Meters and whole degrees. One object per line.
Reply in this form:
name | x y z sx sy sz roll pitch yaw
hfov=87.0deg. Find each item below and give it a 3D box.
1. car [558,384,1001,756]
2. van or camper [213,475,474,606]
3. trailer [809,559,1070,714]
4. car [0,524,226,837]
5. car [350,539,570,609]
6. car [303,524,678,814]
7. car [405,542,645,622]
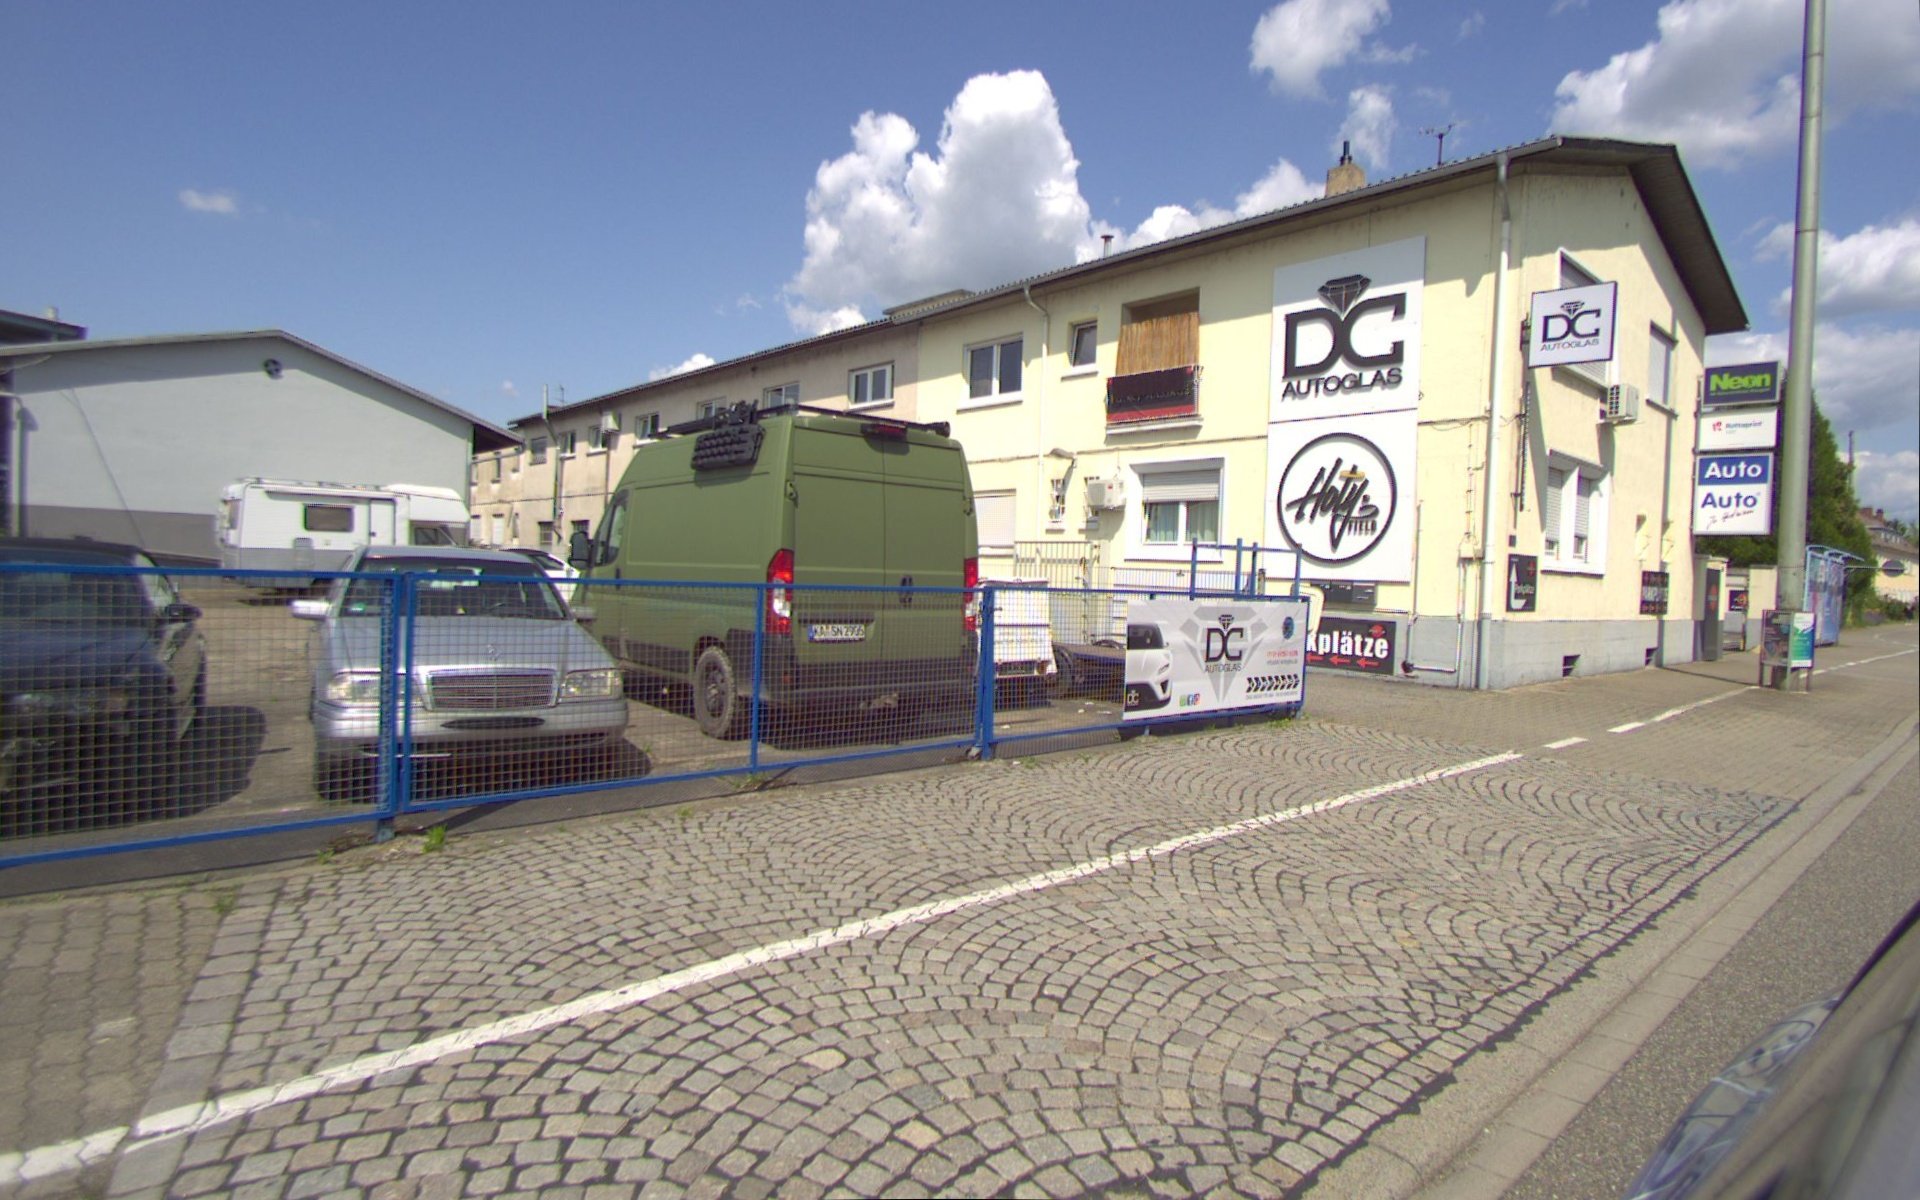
car | -1.939 -0.310 9.526 2.113 2.605 4.548 0 2 -40
van or camper | -14.710 -1.369 24.330 4.980 2.807 2.310 -1 3 -45
trailer | -0.306 0.306 10.926 1.280 1.349 2.788 1 3 -41
car | -5.534 0.261 5.924 1.785 1.372 4.003 0 2 -33
car | -11.255 -0.588 22.928 4.111 1.405 1.925 -1 3 -43
car | -3.620 0.252 7.305 1.785 1.449 4.199 0 2 -34
car | -8.706 -0.388 20.469 4.111 1.433 1.755 -1 3 -44
